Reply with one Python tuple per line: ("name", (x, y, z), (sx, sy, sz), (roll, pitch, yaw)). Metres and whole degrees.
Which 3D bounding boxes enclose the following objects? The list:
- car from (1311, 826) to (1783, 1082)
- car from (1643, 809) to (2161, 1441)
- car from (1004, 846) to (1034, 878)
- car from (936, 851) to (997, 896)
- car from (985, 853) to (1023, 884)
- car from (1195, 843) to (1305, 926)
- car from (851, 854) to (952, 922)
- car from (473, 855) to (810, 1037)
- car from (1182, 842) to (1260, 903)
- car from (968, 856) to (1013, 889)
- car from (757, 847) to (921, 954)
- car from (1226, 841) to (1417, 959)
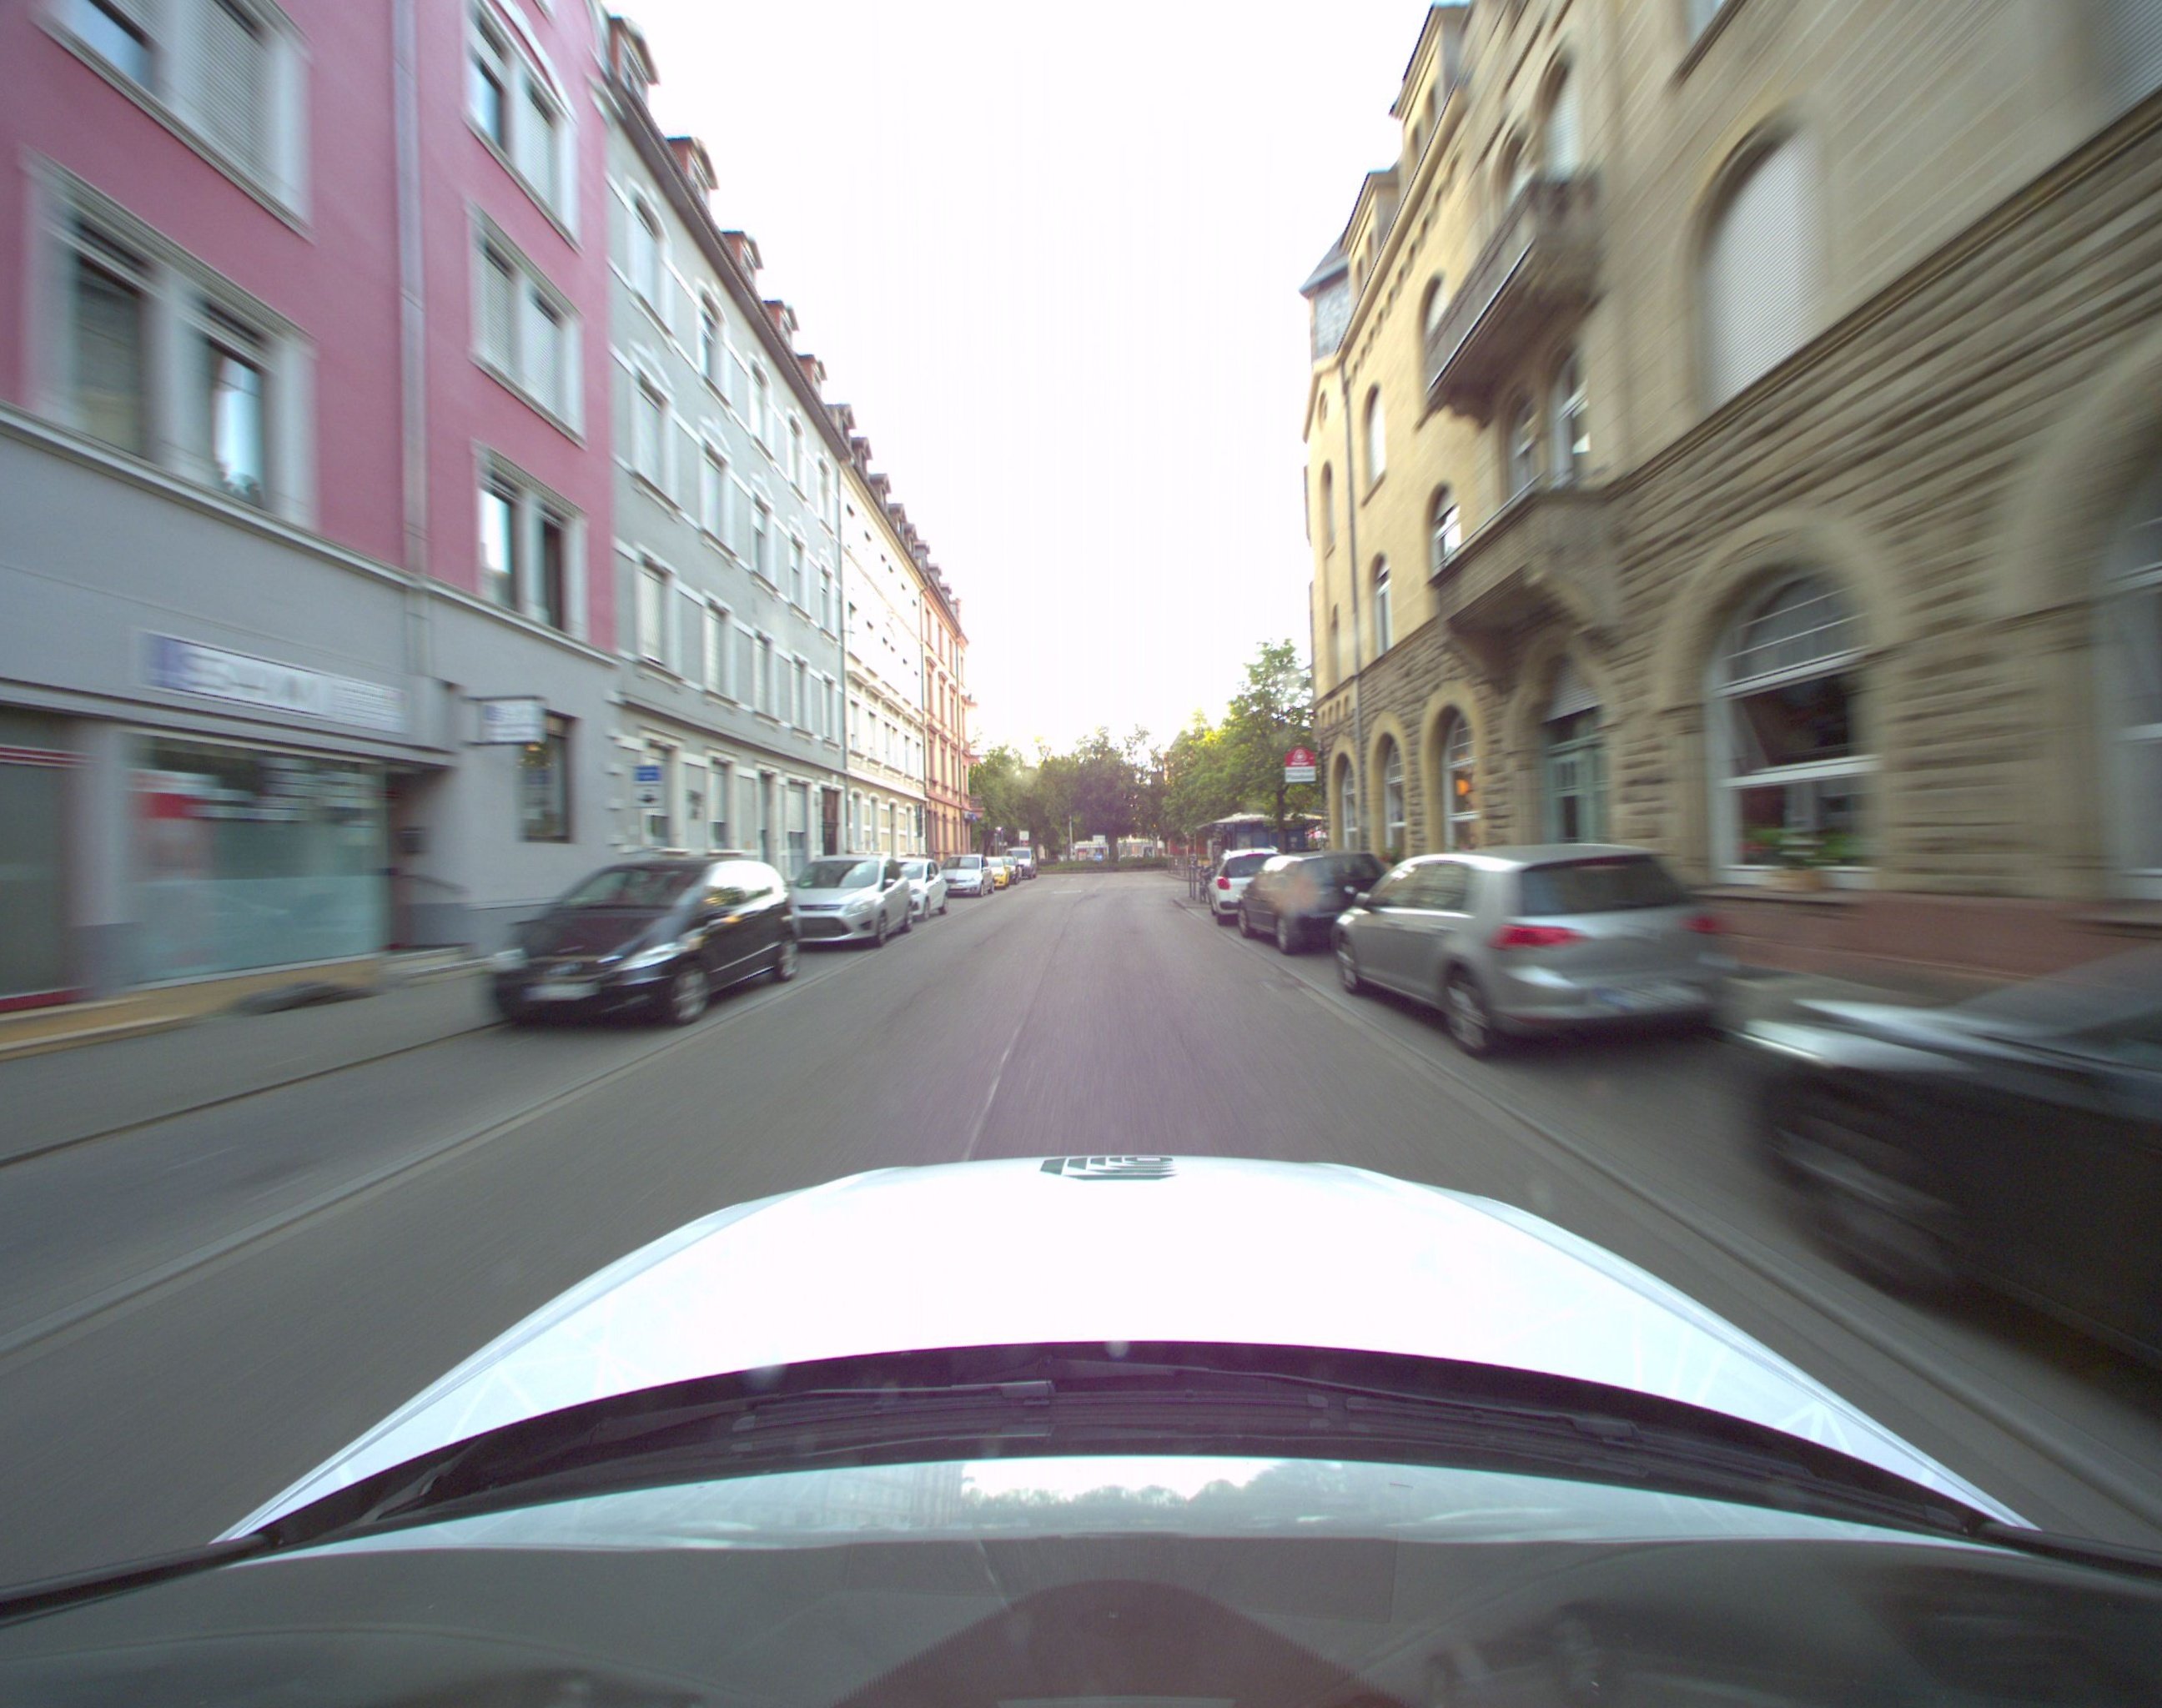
("car", (3.490, 0.619, 7.168), (1.671, 1.456, 4.230), (-5, 0, 0))
("car", (3.346, 0.622, 1.405), (1.670, 1.429, 4.480), (-5, 0, 2))
("car", (-3.885, 0.485, 51.625), (1.806, 1.977, 4.182), (0, 0, -3))
("car", (-4.314, 0.704, 31.289), (1.692, 1.621, 4.022), (0, 0, 1))
("car", (-4.057, 0.744, 43.475), (1.693, 1.552, 4.019), (0, 0, -1))
("car", (3.586, 0.596, 17.914), (1.669, 1.501, 3.904), (-5, 0, 3))
("car", (-4.390, 0.775, 20.466), (1.692, 1.552, 3.569), (0, 0, 1))
("car", (-4.455, 0.798, 8.984), (1.630, 1.565, 3.781), (-1, 0, 0))
("car", (3.989, 0.496, 23.779), (1.669, 1.501, 4.021), (-5, 0, 3))
("car", (-4.129, 0.825, 37.544), (1.693, 1.426, 4.019), (0, 0, -1))
("car", (-4.293, 0.752, 15.165), (1.840, 1.659, 4.249), (-2, 0, -2))
("car", (3.591, 0.624, 12.884), (1.672, 1.456, 3.797), (-5, 0, -3))
